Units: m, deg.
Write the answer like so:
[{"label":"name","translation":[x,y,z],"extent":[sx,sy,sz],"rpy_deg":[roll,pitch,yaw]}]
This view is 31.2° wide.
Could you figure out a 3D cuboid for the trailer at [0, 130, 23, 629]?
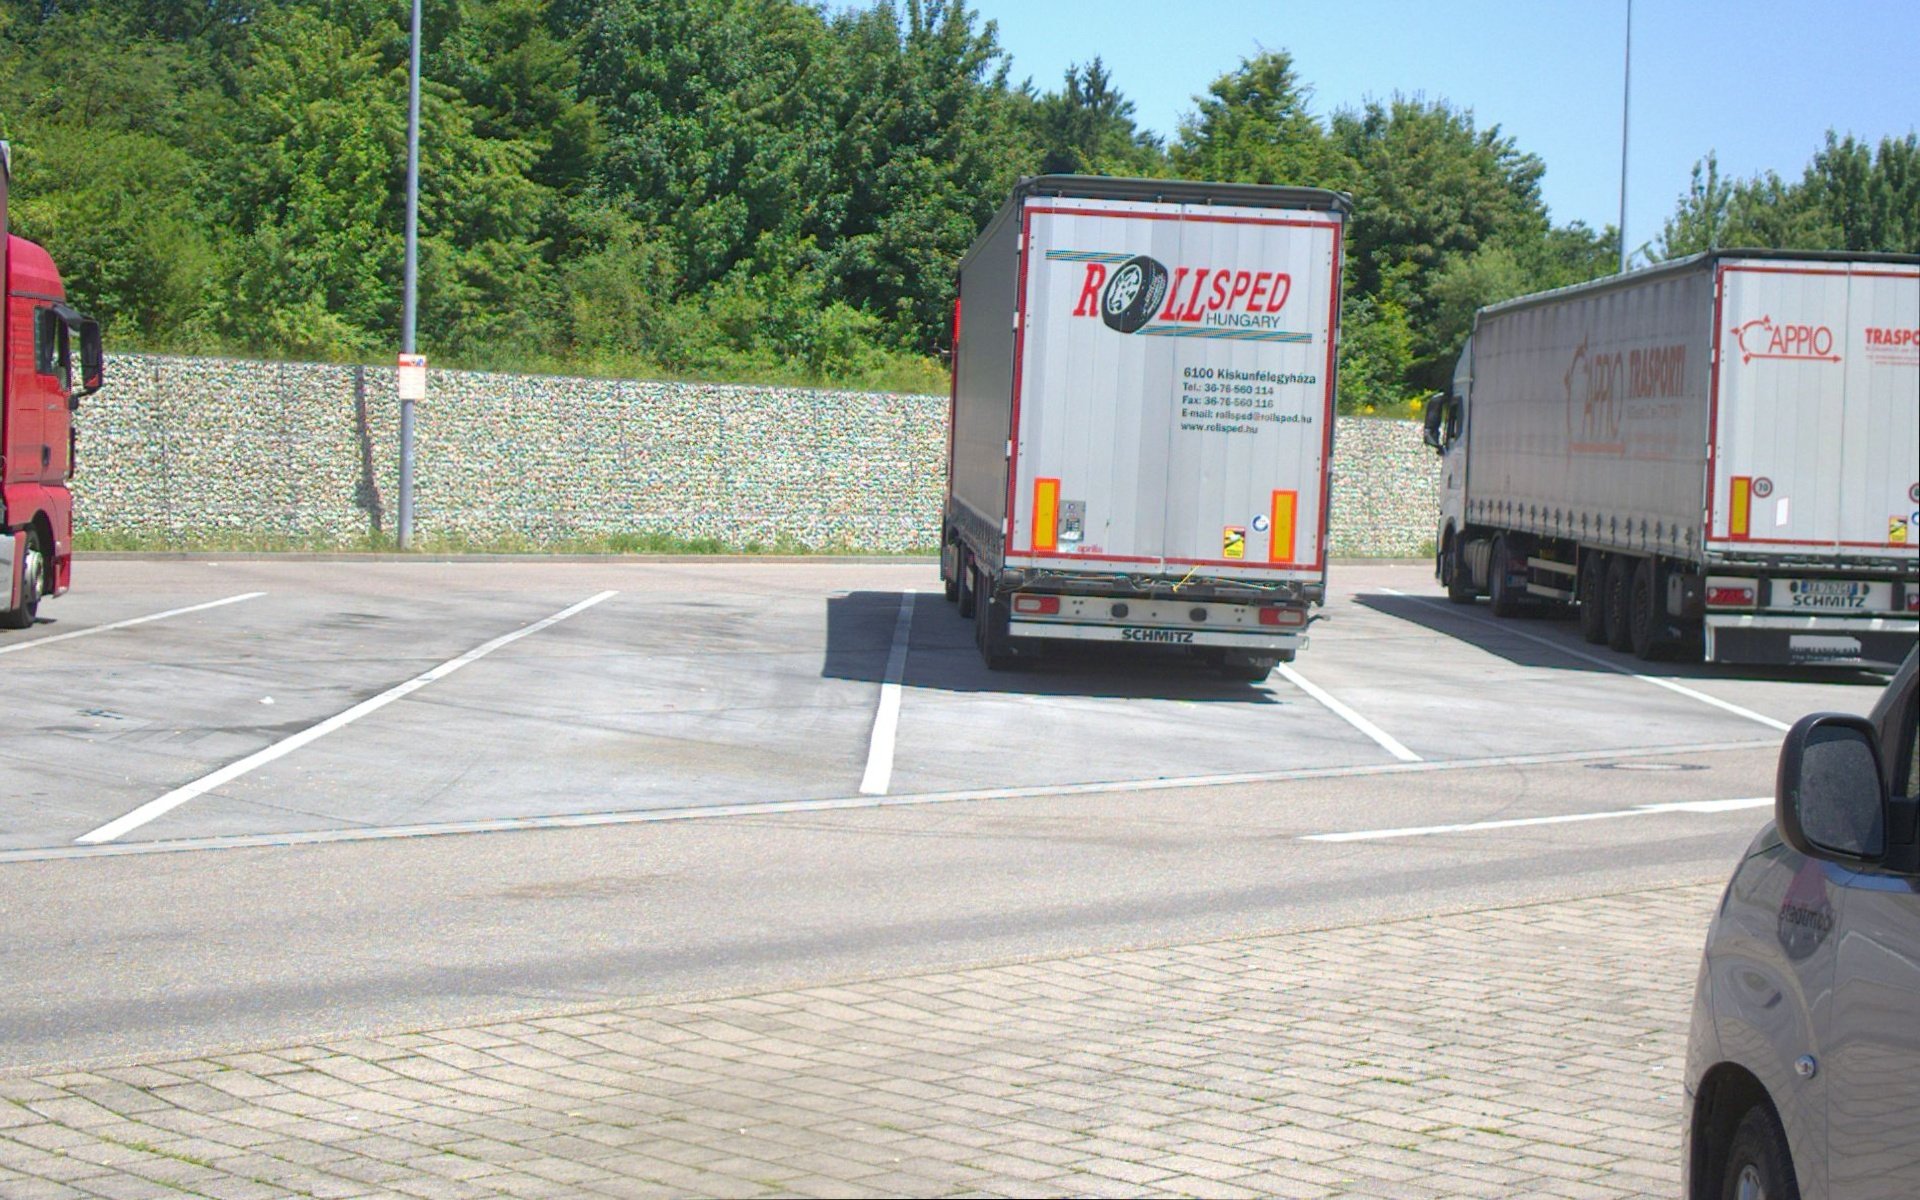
[{"label":"trailer","translation":[-9.196,-1.489,21.556],"extent":[2.791,4.071,14.133],"rpy_deg":[2,3,-1]}]

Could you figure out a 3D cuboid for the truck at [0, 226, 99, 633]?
[{"label":"truck","translation":[-9.239,-1.444,28.130],"extent":[2.851,3.316,5.900],"rpy_deg":[2,3,-1]}]

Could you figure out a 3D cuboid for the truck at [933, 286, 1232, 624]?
[{"label":"truck","translation":[1.311,-1.734,40.496],"extent":[3.103,3.554,5.900],"rpy_deg":[2,3,-1]}]

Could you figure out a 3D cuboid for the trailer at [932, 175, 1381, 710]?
[{"label":"trailer","translation":[1.447,-1.592,33.604],"extent":[3.133,3.976,14.397],"rpy_deg":[2,3,-1]}]

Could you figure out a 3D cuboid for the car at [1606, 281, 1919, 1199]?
[{"label":"car","translation":[2.146,0.584,3.835],"extent":[1.869,1.857,4.177],"rpy_deg":[2,2,-2]}]

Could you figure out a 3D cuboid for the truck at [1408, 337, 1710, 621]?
[{"label":"truck","translation":[8.022,-1.697,46.816],"extent":[2.862,3.509,5.900],"rpy_deg":[2,3,-1]}]

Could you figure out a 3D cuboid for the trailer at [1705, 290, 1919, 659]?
[{"label":"trailer","translation":[11.755,-1.454,39.768],"extent":[2.811,3.976,14.396],"rpy_deg":[2,3,-1]}]

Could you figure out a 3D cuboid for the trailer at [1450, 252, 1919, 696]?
[{"label":"trailer","translation":[8.114,-1.521,38.716],"extent":[2.811,3.976,14.396],"rpy_deg":[2,3,-1]}]
